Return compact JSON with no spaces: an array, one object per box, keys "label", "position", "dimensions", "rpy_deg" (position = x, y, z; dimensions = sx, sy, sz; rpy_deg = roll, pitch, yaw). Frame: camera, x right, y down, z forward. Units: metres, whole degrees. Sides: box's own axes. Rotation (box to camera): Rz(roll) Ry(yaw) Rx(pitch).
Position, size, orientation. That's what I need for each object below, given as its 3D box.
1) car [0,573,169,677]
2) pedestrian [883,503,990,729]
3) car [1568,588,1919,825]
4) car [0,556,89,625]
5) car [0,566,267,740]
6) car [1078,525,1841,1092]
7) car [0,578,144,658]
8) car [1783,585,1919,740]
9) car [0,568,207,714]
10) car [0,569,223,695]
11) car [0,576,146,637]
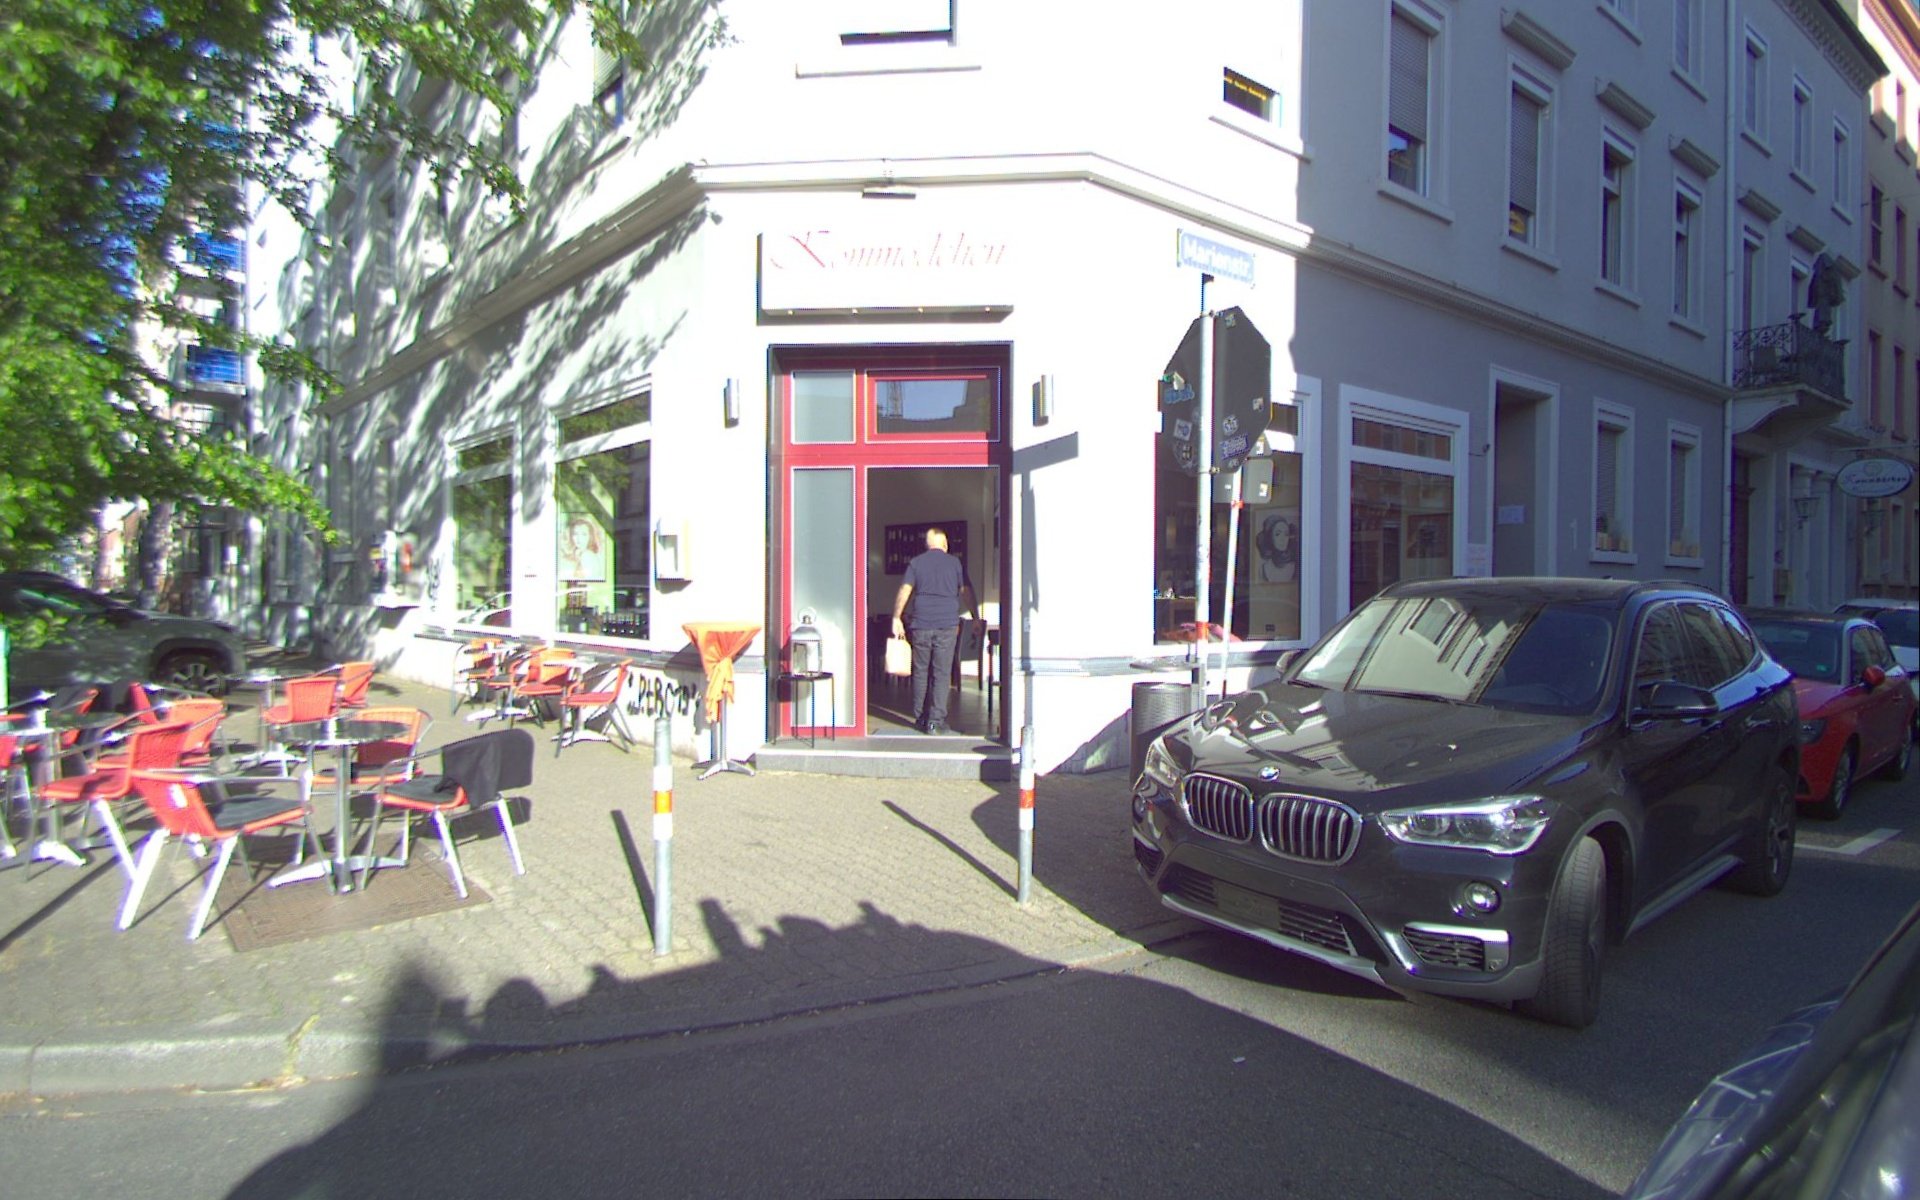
[{"label":"car","position":[-14.930,0.366,15.553],"dimensions":[1.609,1.506,4.088],"rpy_deg":[2,3,33]},{"label":"pedestrian","position":[-0.207,0.126,8.620],"dimensions":[0.848,1.822,0.852],"rpy_deg":[1,0,-2]},{"label":"car","position":[6.729,0.688,8.359],"dimensions":[3.882,1.522,1.649],"rpy_deg":[0,-1,-38]},{"label":"car","position":[-27.555,-0.288,28.634],"dimensions":[1.861,1.910,4.119],"rpy_deg":[1,2,14]},{"label":"car","position":[-9.462,0.472,10.009],"dimensions":[1.602,1.574,4.106],"rpy_deg":[1,3,22]},{"label":"car","position":[2.678,0.622,4.992],"dimensions":[4.121,1.683,1.764],"rpy_deg":[0,-1,-38]},{"label":"car","position":[-19.147,0.345,20.320],"dimensions":[1.614,1.506,4.075],"rpy_deg":[2,3,41]},{"label":"car","position":[11.191,0.645,11.835],"dimensions":[3.719,1.607,1.640],"rpy_deg":[0,-1,-38]},{"label":"car","position":[-11.274,0.442,11.640],"dimensions":[1.596,1.574,4.119],"rpy_deg":[1,2,14]},{"label":"car","position":[-12.713,0.390,13.756],"dimensions":[1.605,1.574,4.098],"rpy_deg":[1,3,27]},{"label":"car","position":[-25.332,0.127,28.095],"dimensions":[1.596,1.506,4.119],"rpy_deg":[1,2,14]}]
